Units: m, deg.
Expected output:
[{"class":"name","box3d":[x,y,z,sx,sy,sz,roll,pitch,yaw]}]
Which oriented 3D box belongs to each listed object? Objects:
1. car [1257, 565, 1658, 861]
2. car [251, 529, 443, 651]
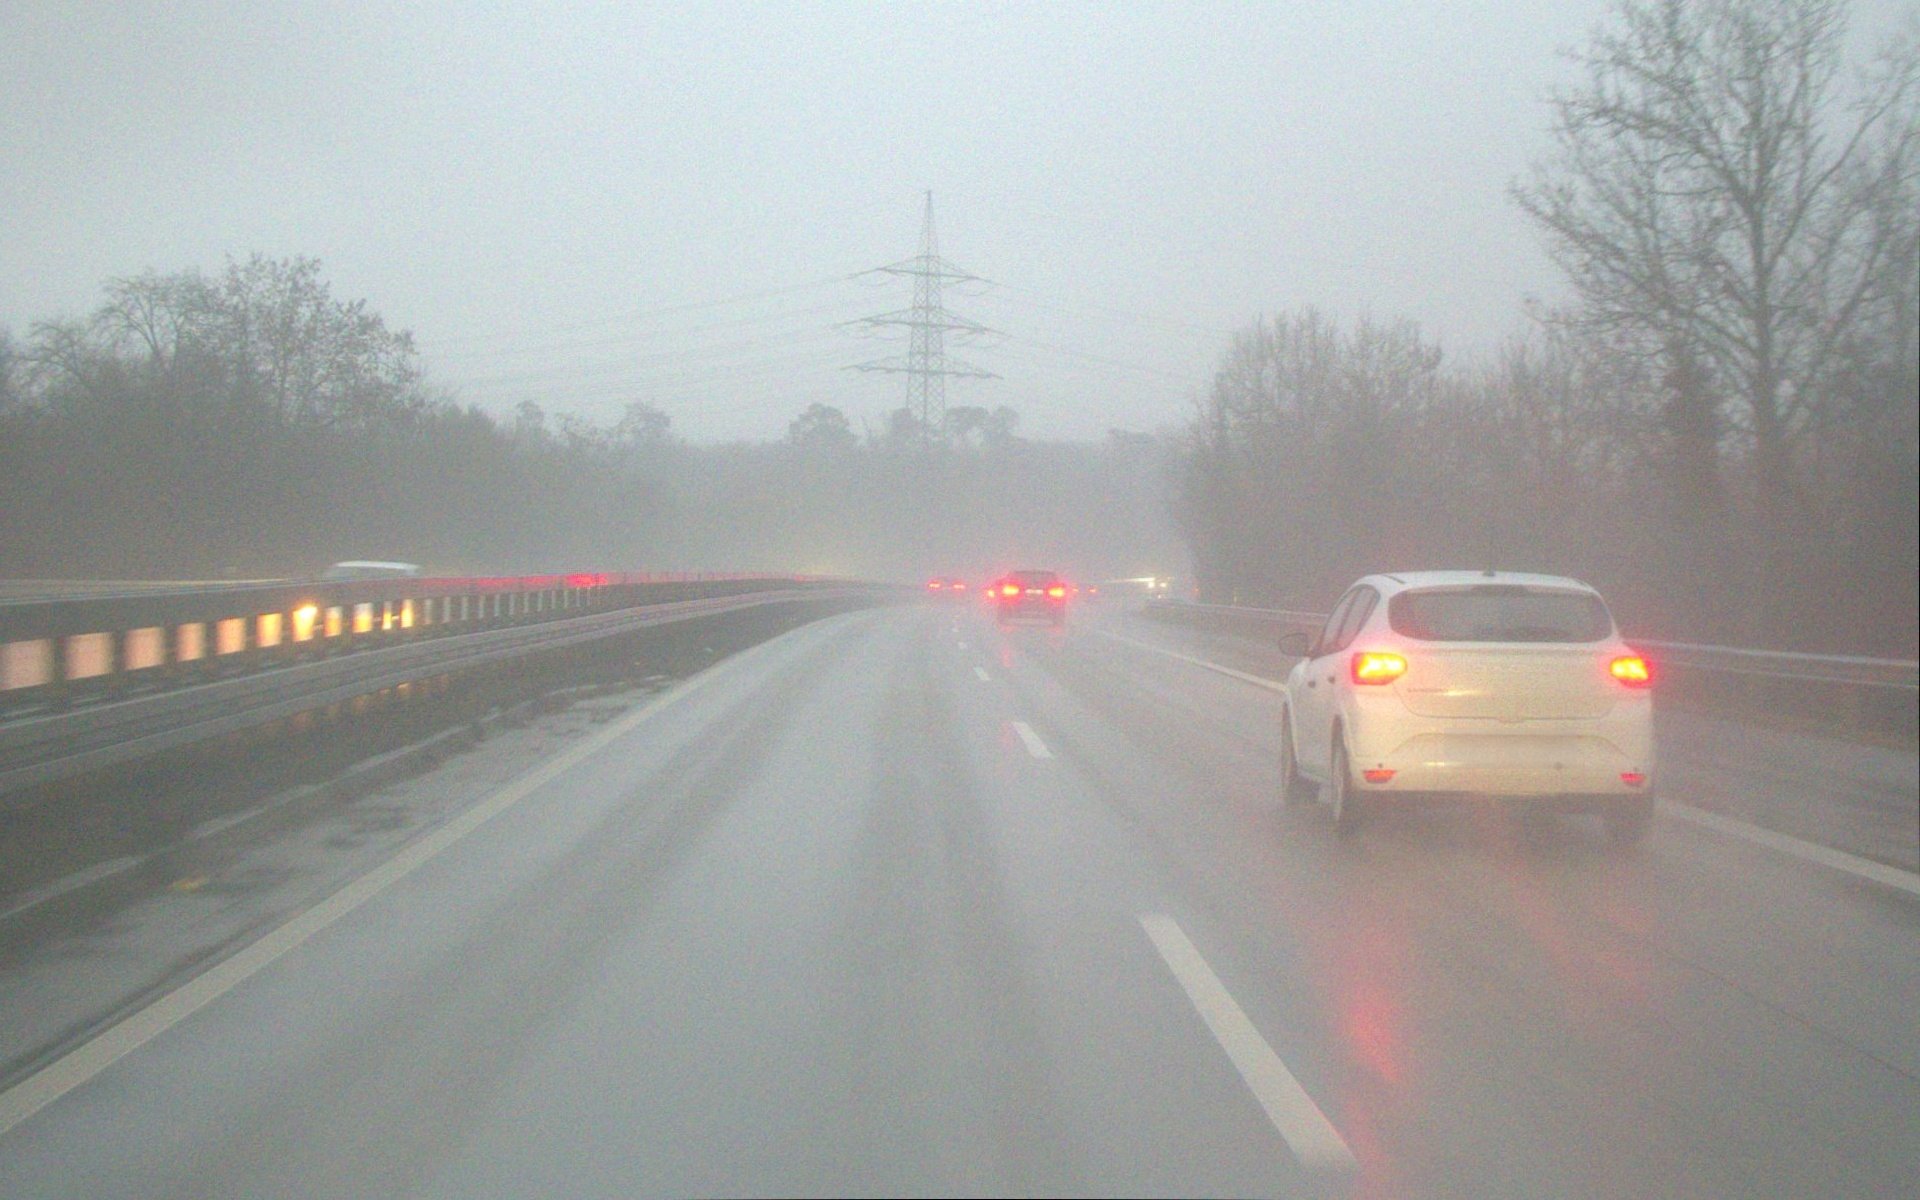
[{"class":"car","box3d":[2.922,0.625,20.945,1.845,1.630,3.768,0,0,-1]},{"class":"car","box3d":[-9.356,-0.200,52.843,2.164,1.785,4.809,0,1,-1]}]
